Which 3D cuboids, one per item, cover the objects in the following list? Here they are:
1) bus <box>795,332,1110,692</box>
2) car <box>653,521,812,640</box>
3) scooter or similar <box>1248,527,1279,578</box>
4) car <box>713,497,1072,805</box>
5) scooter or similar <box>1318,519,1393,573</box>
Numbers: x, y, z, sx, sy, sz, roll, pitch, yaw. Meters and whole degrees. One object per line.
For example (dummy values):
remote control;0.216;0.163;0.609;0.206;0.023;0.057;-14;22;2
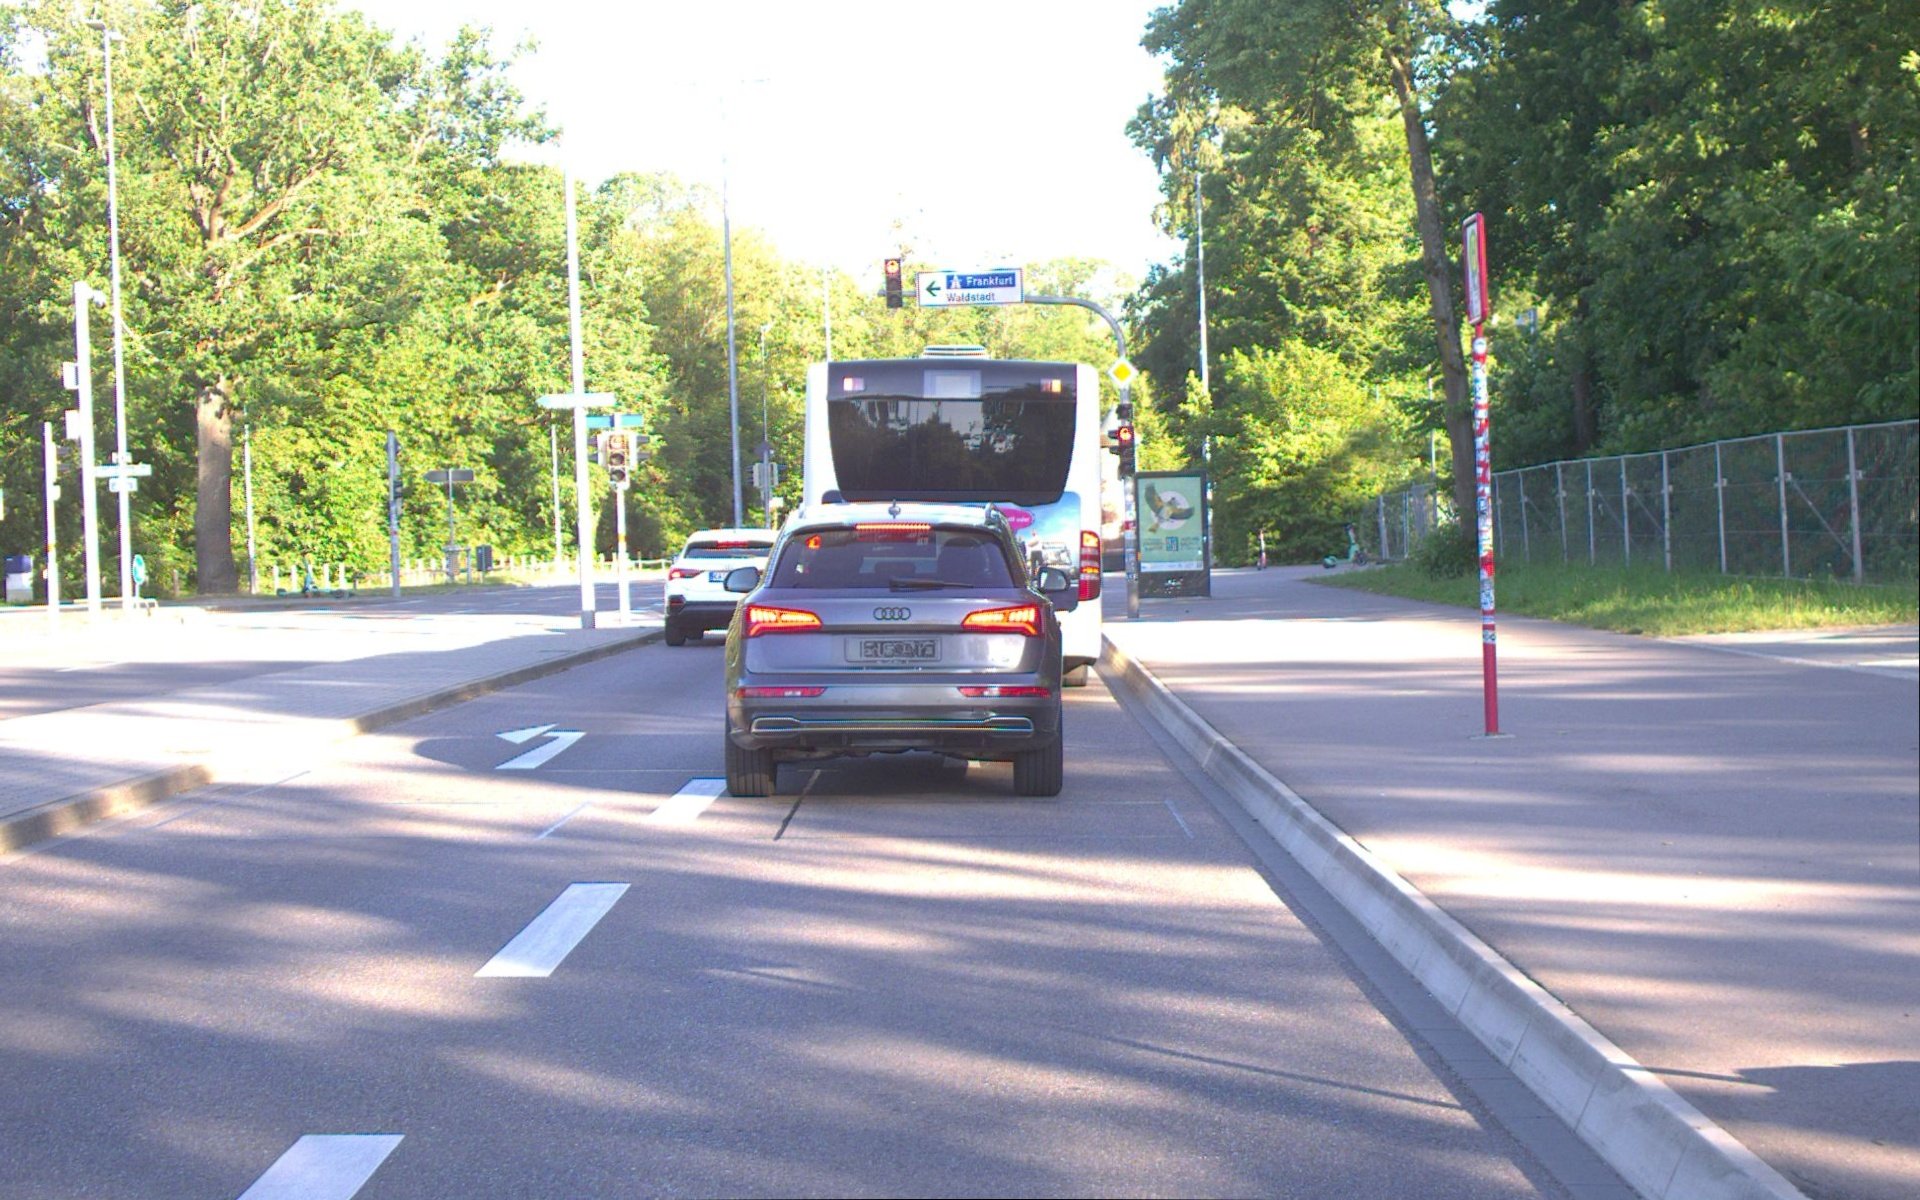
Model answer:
bus;-0.029;-0.789;33.194;2.595;2.978;9.327;0;1;0
car;-3.043;-0.296;46.641;1.836;1.513;4.000;-1;1;0
scooter or similar;8.777;-1.376;99.595;0.508;1.439;2.023;-2;1;-5
car;-0.343;0.225;20.168;1.898;1.626;4.000;0;1;0
scooter or similar;11.176;-1.532;97.064;2.015;1.439;0.606;-3;1;-24
